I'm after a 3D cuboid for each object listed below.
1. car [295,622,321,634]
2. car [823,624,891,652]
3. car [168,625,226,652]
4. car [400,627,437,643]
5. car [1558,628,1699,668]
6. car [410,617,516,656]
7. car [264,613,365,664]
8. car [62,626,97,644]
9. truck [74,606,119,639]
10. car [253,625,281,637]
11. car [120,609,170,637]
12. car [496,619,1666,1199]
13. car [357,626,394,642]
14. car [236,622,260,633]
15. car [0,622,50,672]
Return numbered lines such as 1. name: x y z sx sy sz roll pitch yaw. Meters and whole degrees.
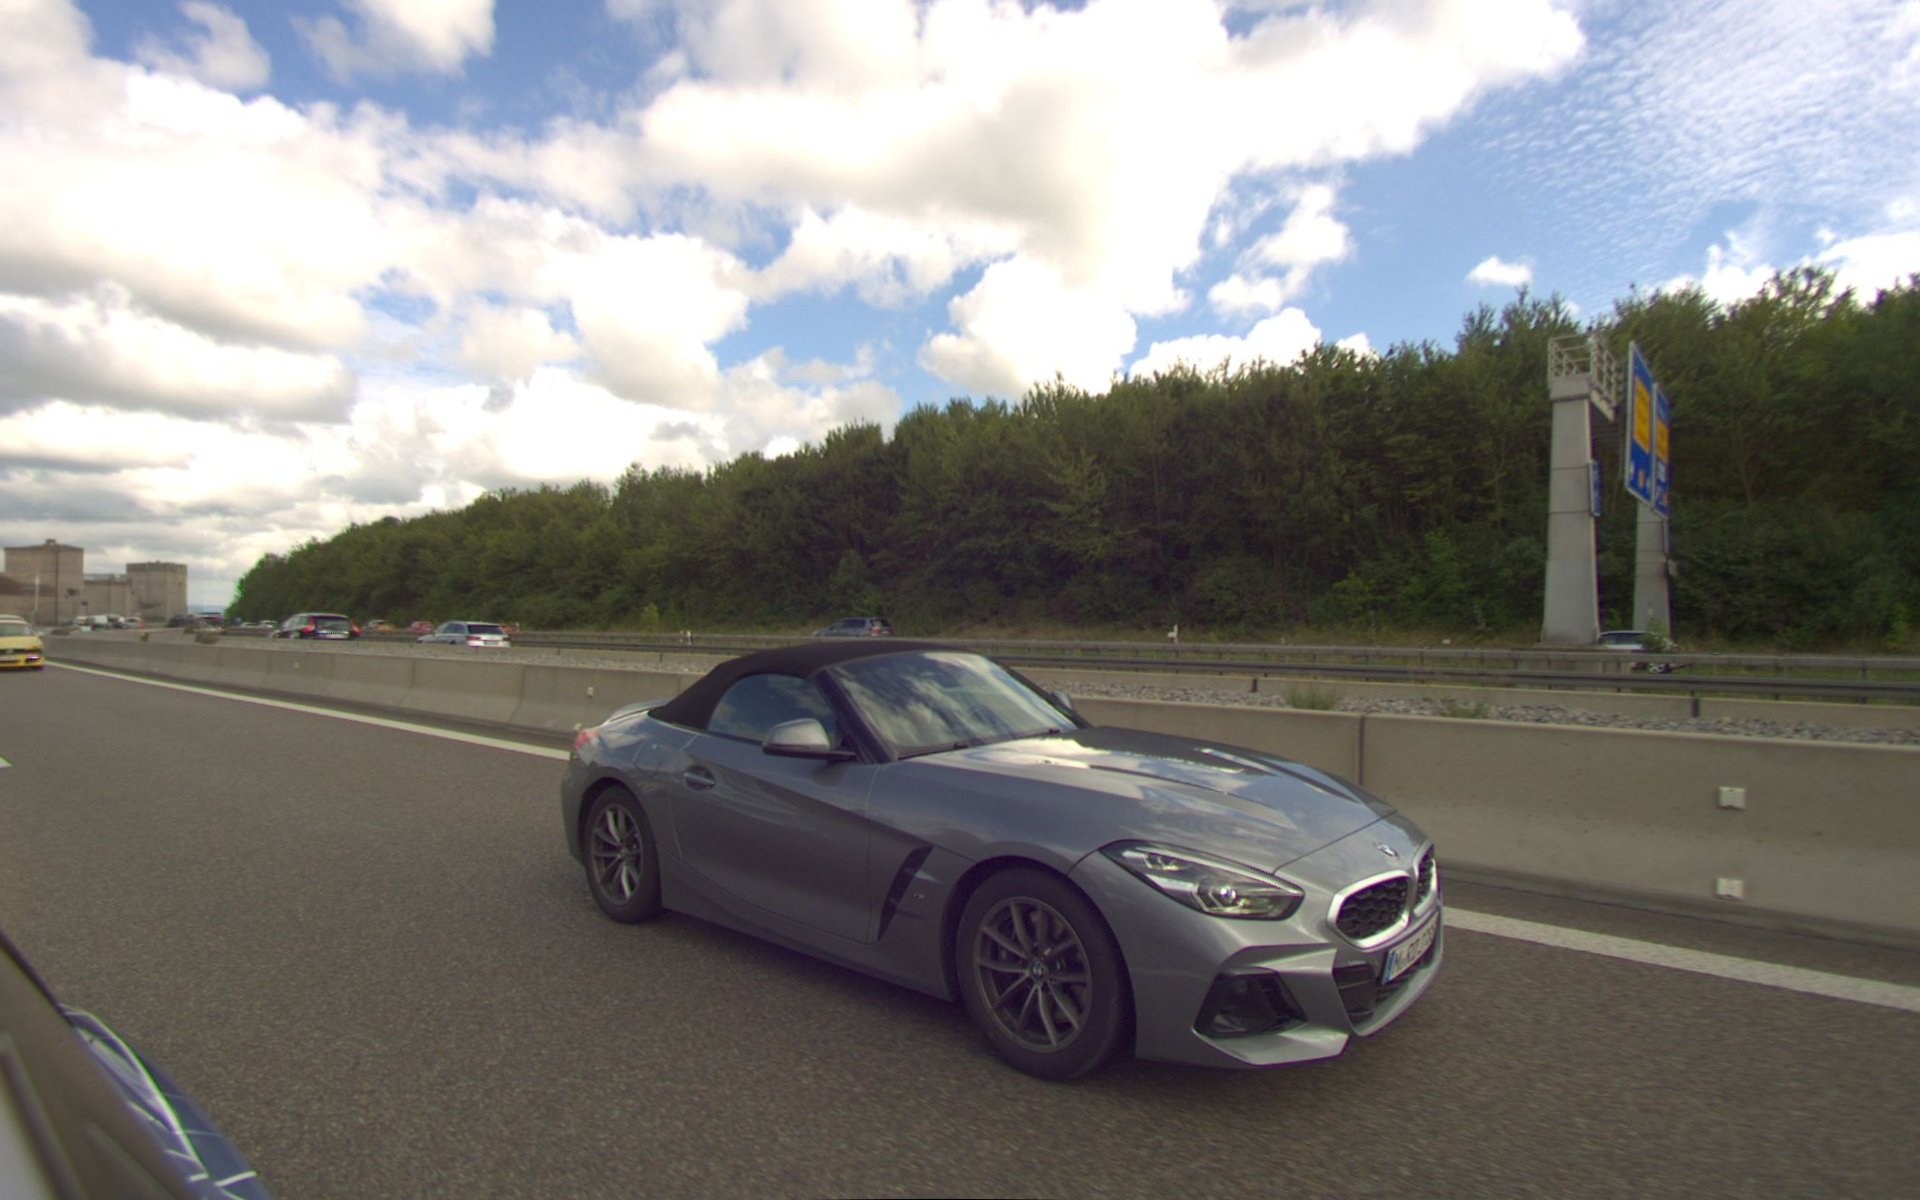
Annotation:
1. car: -80.613 3.466 125.151 4.177 1.506 1.575 -1 -2 40
2. car: -5.523 2.018 54.208 3.758 1.437 1.450 -1 -2 41
3. car: -45.633 2.279 60.505 4.778 1.573 1.756 -1 -2 40
4. car: -49.071 3.156 91.673 4.049 1.375 1.547 -1 -1 40
5. car: 22.136 1.563 33.599 3.758 1.227 1.450 -1 -2 41
6. car: -17.992 1.282 36.560 4.672 1.304 1.752 -1 -1 41
7. car: -22.432 1.303 35.118 4.462 1.623 1.753 -1 -1 41
8. car: -76.859 3.072 88.347 4.049 1.522 1.719 -1 -1 40
9. truck: -89.262 2.314 104.520 7.820 3.288 2.329 -1 -2 41
10. car: -76.161 3.394 111.231 4.049 1.375 1.547 -1 -1 40
11. car: -69.633 1.943 86.430 6.456 2.288 2.142 -1 -2 40
12. car: 0.000 0.760 4.459 4.939 1.312 1.854 -1 -1 41
13. car: -51.196 2.958 88.551 4.049 1.375 1.547 -1 -1 40
14. car: -99.508 3.780 141.394 4.505 1.506 1.575 -1 -2 40
15. car: -27.080 1.284 28.353 4.244 1.325 1.788 -1 -3 41
